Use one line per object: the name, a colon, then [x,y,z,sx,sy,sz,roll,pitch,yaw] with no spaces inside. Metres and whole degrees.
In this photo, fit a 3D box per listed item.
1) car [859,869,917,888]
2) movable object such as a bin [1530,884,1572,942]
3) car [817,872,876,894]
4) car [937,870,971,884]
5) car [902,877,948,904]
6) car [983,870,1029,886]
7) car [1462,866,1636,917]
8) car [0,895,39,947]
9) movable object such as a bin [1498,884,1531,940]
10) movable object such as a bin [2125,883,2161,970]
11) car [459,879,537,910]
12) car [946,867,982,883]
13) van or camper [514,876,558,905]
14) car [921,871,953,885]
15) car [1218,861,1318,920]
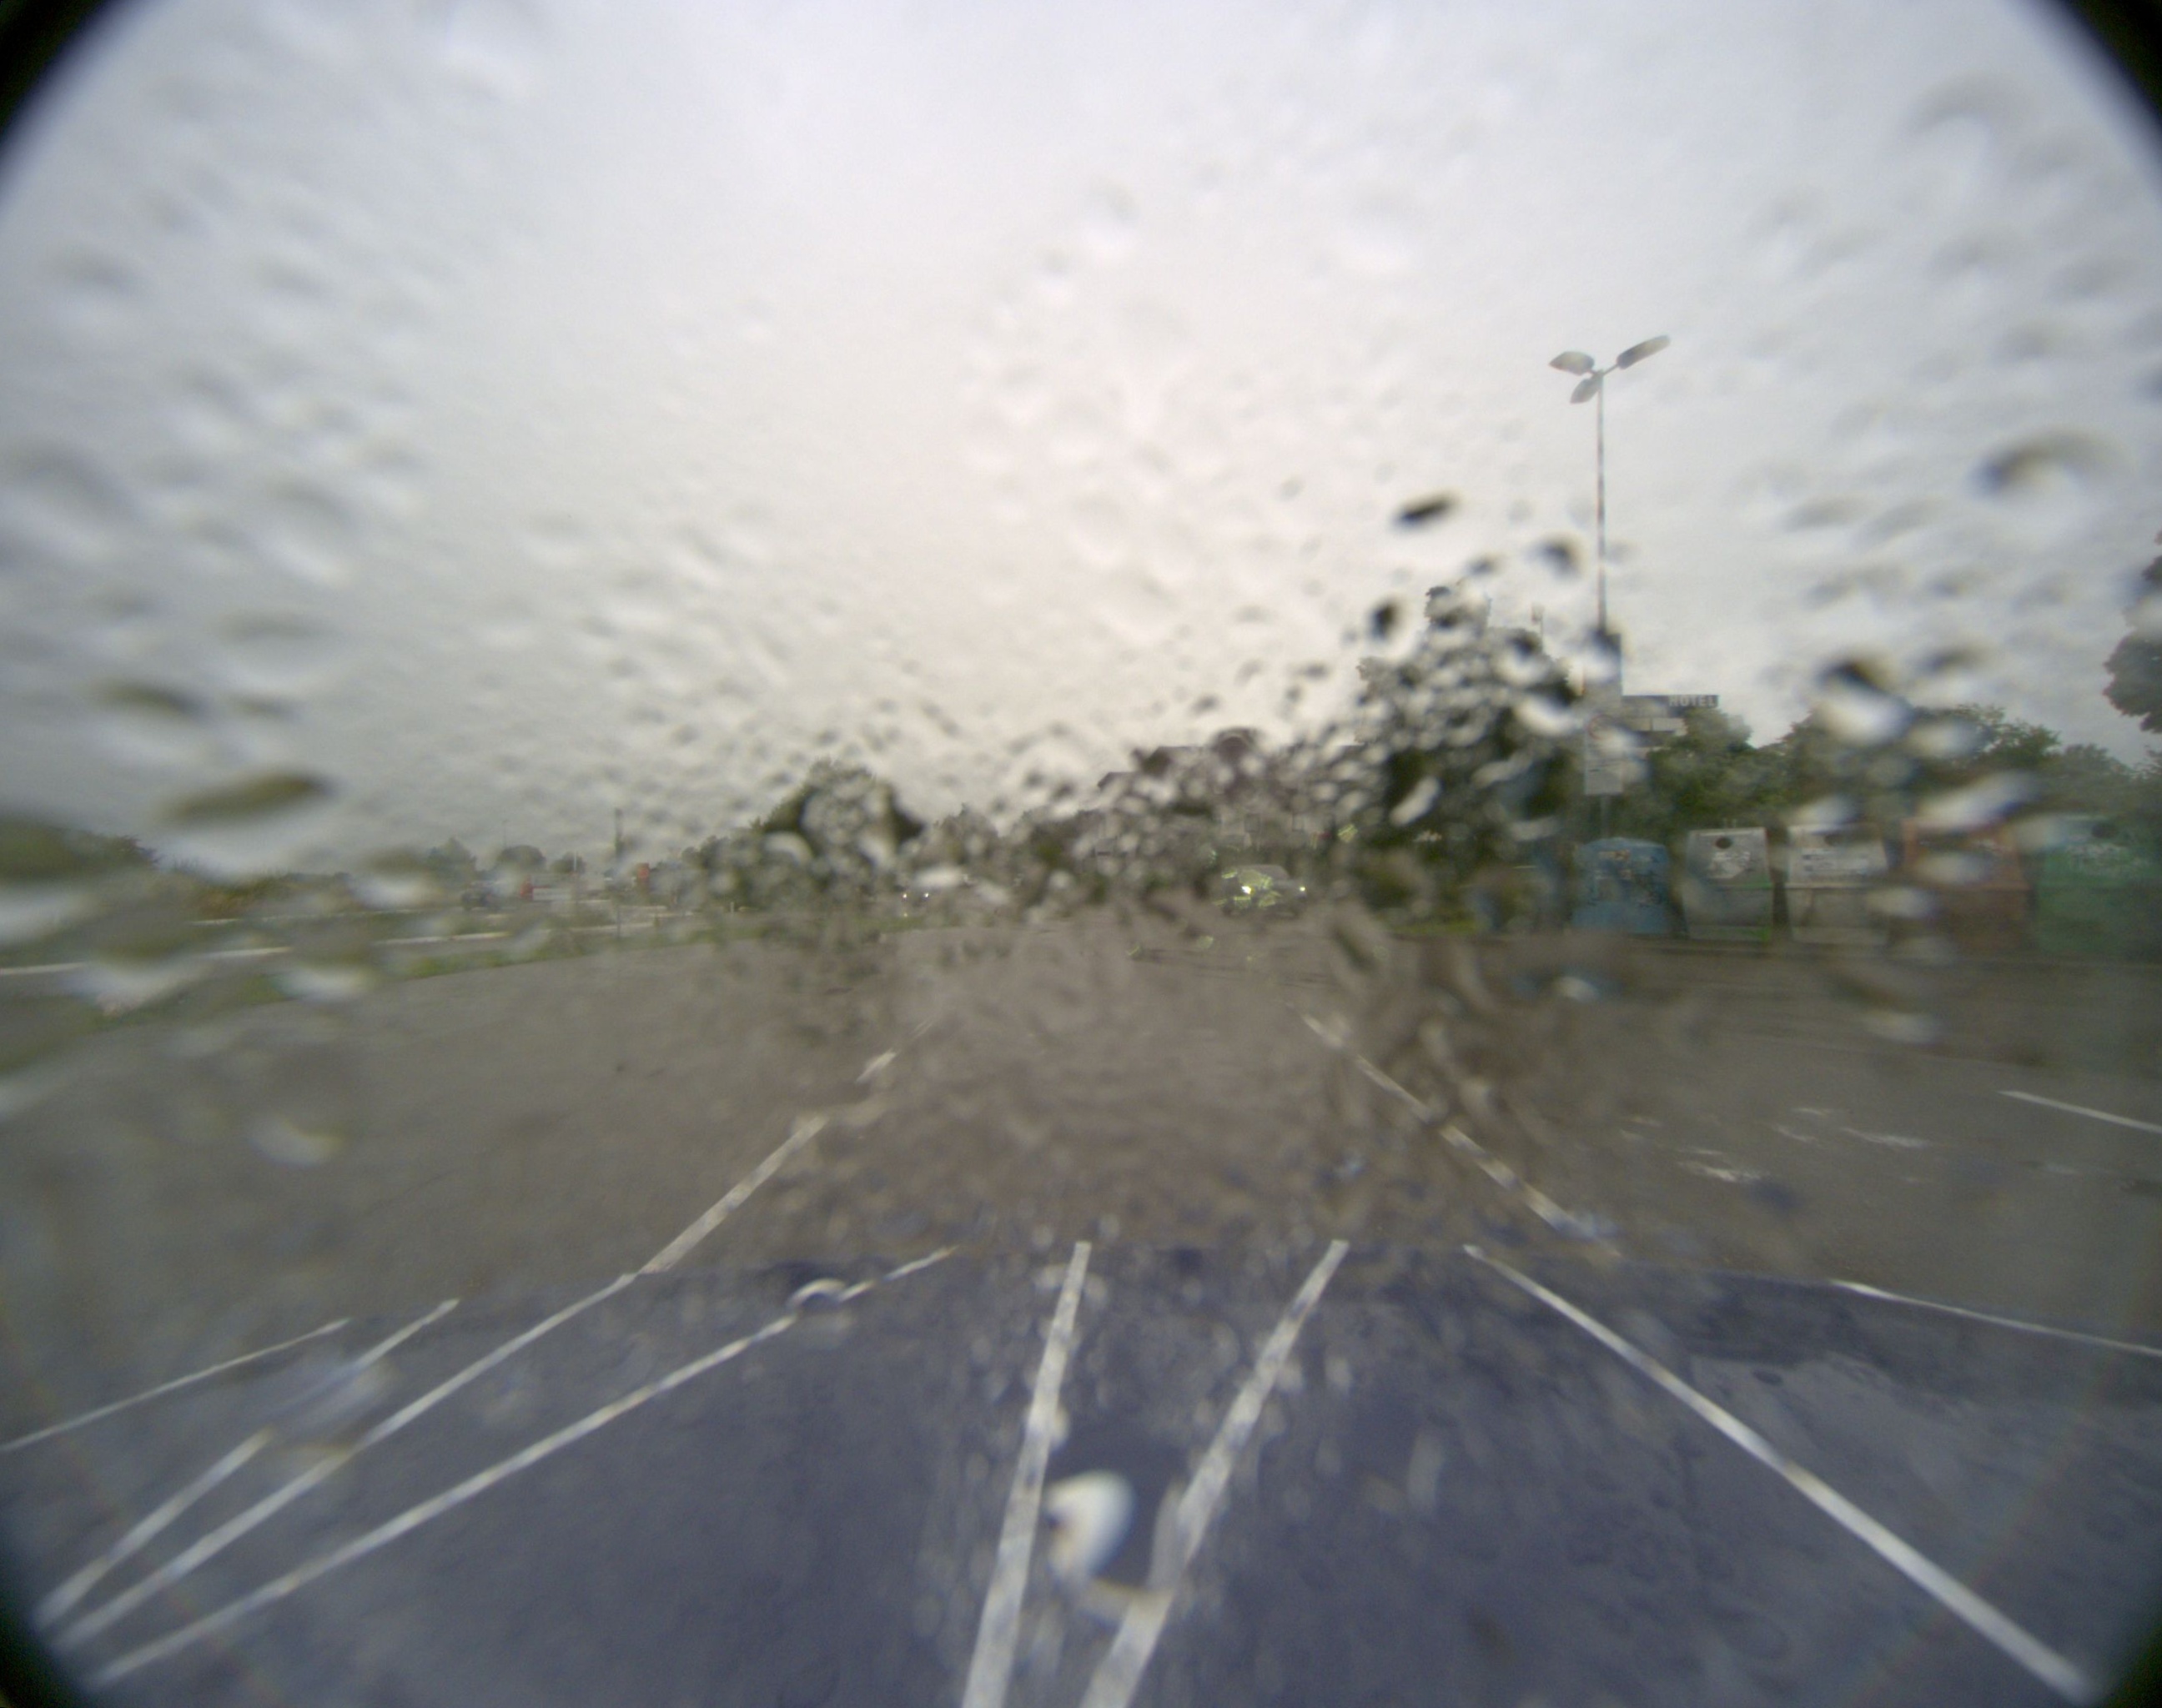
car: [-19.811,2.539,78.128,5.374,1.711,2.000,-2,-1,-2]
movable object such as a bin: [7.933,0.992,12.839,0.405,0.943,0.450,-2,0,1]
car: [-20.812,2.537,67.659,4.606,1.711,2.000,-2,-1,-2]
car: [-14.958,2.721,89.751,3.878,1.560,1.753,-3,-1,38]
car: [-9.557,2.201,46.869,1.705,1.416,4.361,-2,-1,2]
car: [-7.276,2.355,74.195,4.358,1.416,1.850,-2,-1,-3]
car: [14.739,1.152,24.166,1.873,1.440,4.320,0,-2,-32]
car: [-38.820,2.356,25.397,1.887,1.674,4.680,1,1,37]
movable object such as a bin: [7.597,1.004,13.321,0.434,0.943,0.474,-2,0,25]
movable object such as a bin: [11.694,0.774,8.209,0.510,0.917,0.437,0,-2,-39]
car: [-35.084,2.376,45.867,2.001,1.593,4.519,-2,0,-14]
car: [-14.131,2.546,91.890,3.989,1.717,1.994,-3,-1,37]
van or camper: [-39.847,2.627,55.651,2.003,2.001,4.836,1,-1,-28]
car: [-16.714,2.786,88.050,3.716,1.539,1.670,-3,-1,43]
car: [5.561,1.052,23.240,1.998,1.565,4.501,-2,-1,1]
